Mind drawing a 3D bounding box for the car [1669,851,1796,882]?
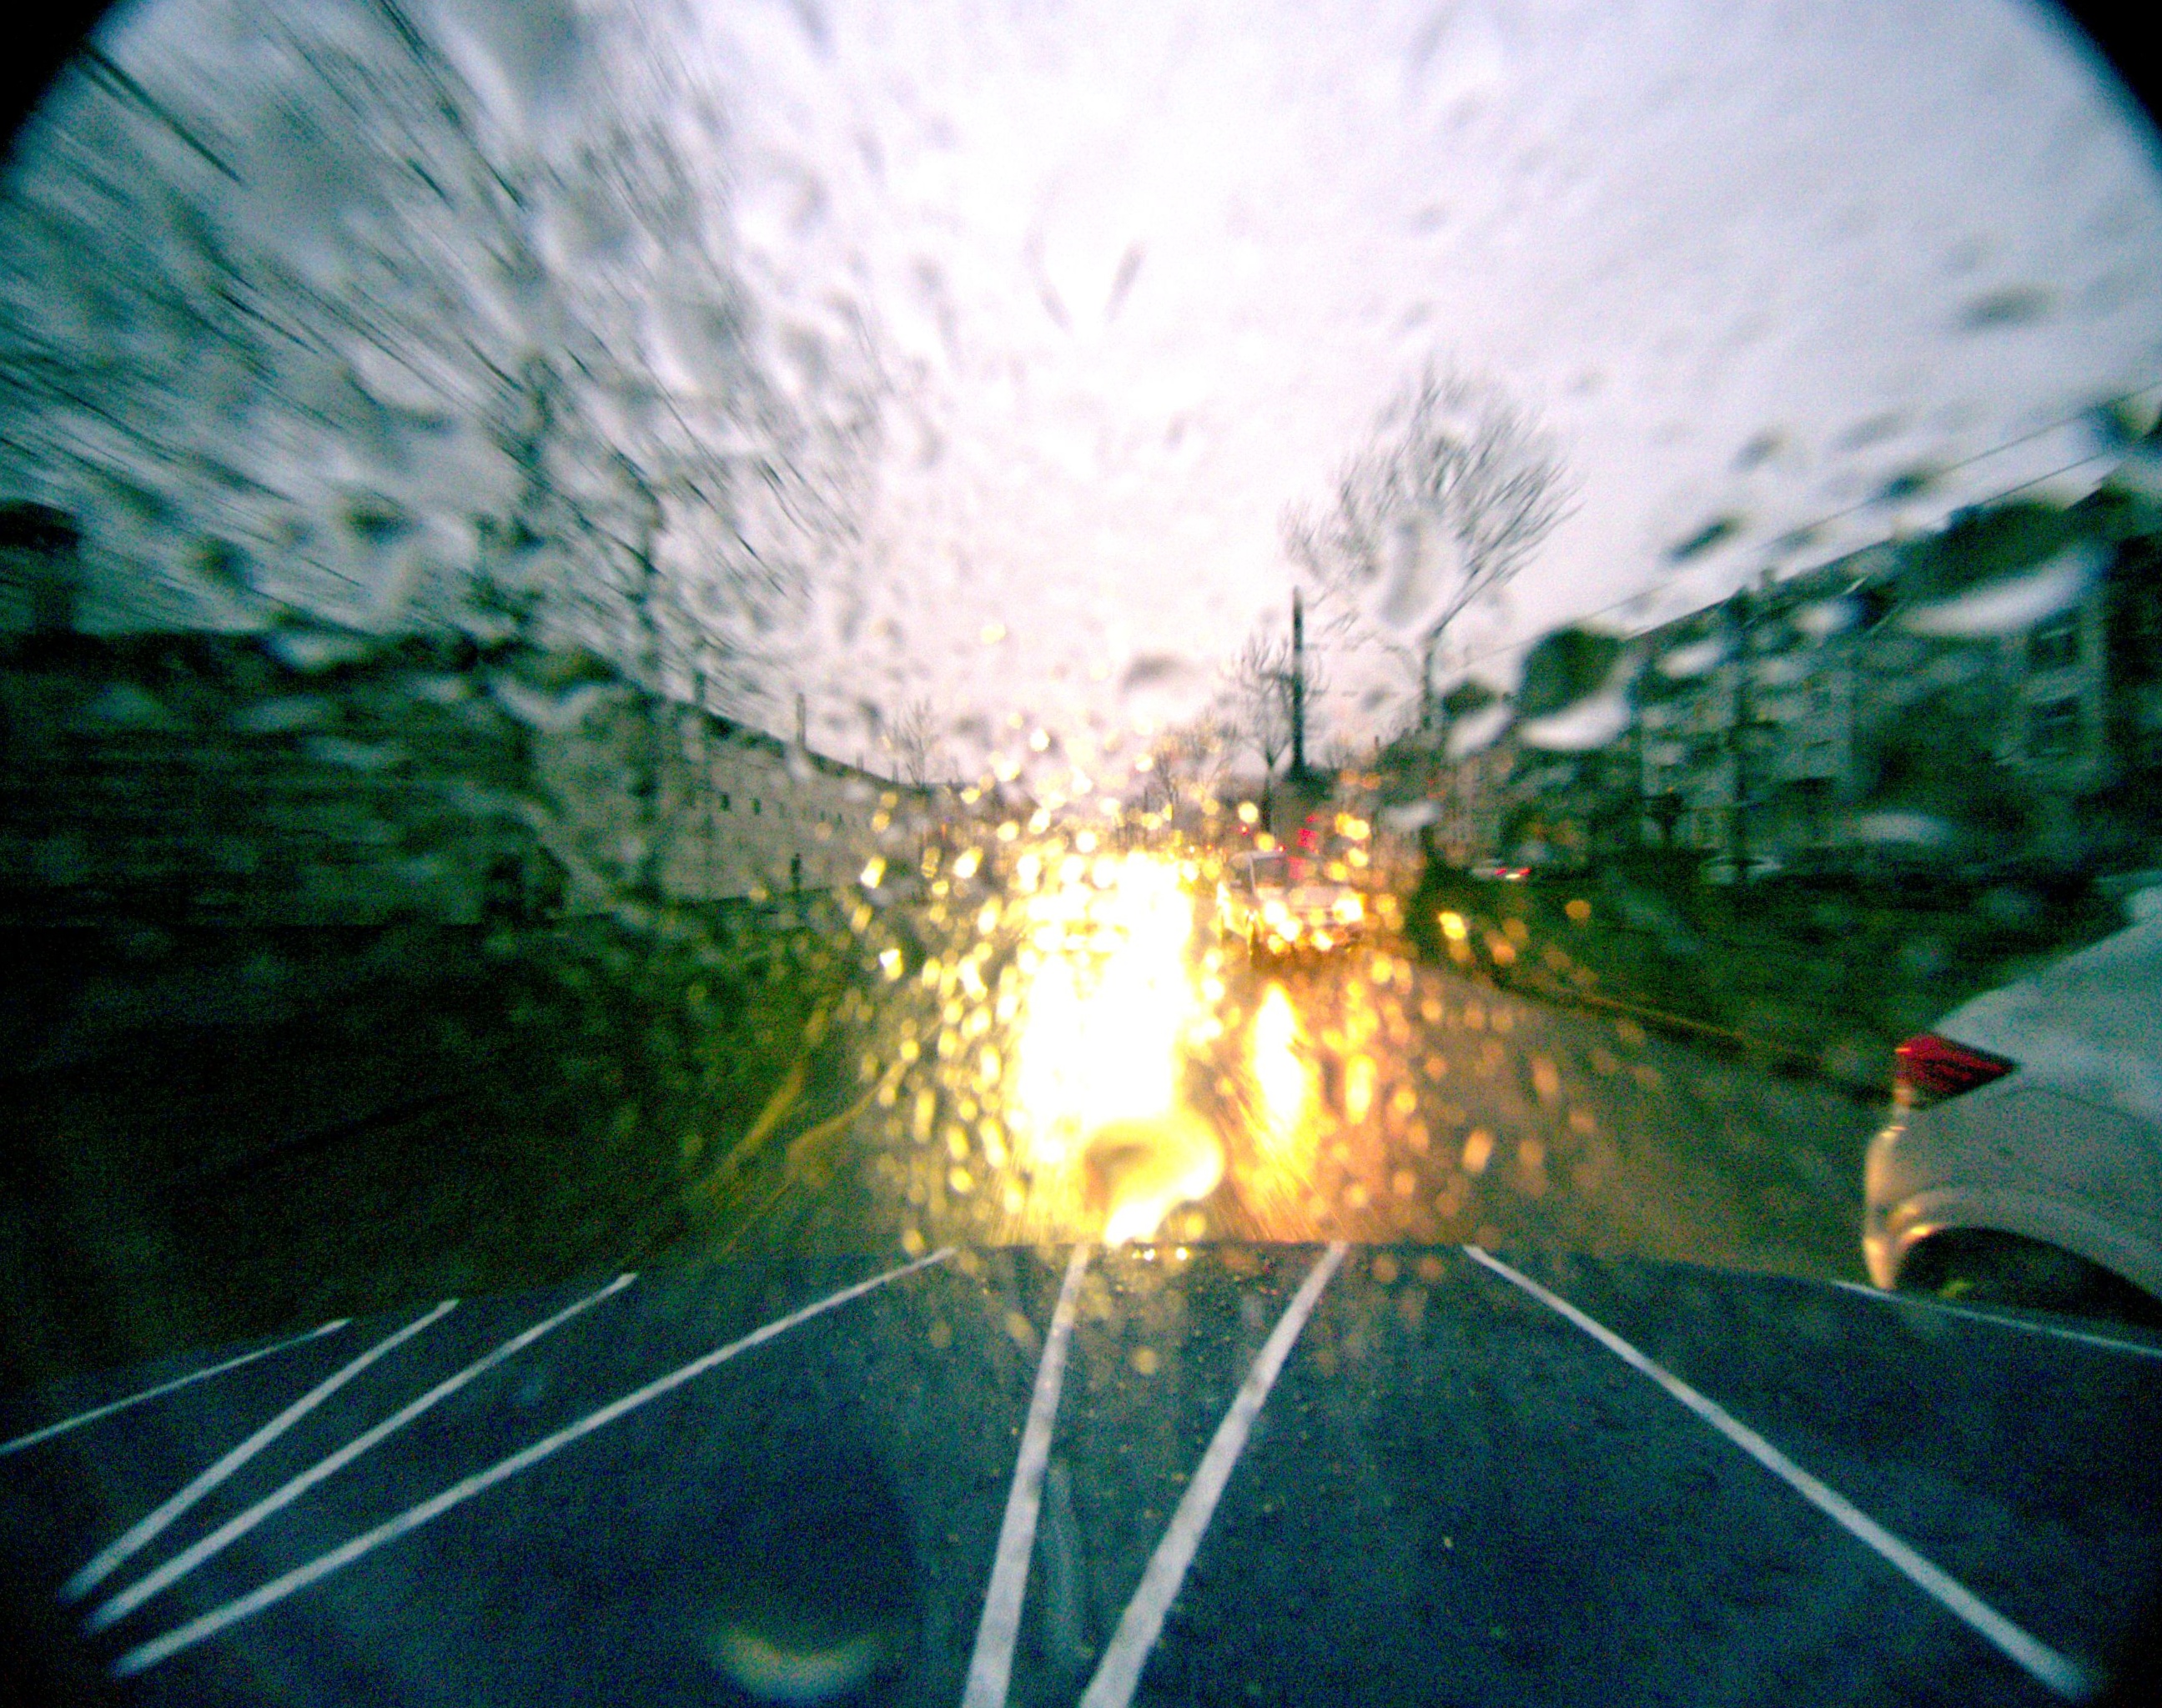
[{"bbox_3d":[29.432,0.581,34.429,4.254,1.250,1.837,-2,1,41],"label":"car"}]

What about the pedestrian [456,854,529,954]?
[{"bbox_3d":[-9.827,0.818,12.697,0.673,1.616,0.615,-2,1,16],"label":"pedestrian"}]

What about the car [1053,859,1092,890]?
[{"bbox_3d":[-0.358,0.956,36.648,1.737,1.311,3.803,-2,1,0],"label":"car"}]

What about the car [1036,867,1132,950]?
[{"bbox_3d":[0.071,1.008,15.529,1.669,1.325,3.786,-2,1,0],"label":"car"}]

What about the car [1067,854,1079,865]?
[{"bbox_3d":[-1.317,0.973,130.966,1.865,1.732,3.365,-2,1,1],"label":"car"}]

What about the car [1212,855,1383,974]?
[{"bbox_3d":[3.287,0.829,12.299,1.638,1.511,3.907,-2,1,0],"label":"car"}]

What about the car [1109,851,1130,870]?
[{"bbox_3d":[3.706,0.610,73.859,1.802,1.674,3.805,-2,1,0],"label":"car"}]

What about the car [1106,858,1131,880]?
[{"bbox_3d":[2.495,0.998,51.116,1.538,1.347,3.546,-2,1,0],"label":"car"}]

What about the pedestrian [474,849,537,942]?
[{"bbox_3d":[-11.272,0.796,14.897,0.673,1.767,0.615,-2,1,14],"label":"pedestrian"}]

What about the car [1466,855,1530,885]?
[{"bbox_3d":[23.313,0.880,42.639,1.549,1.495,3.783,-2,1,2],"label":"car"}]

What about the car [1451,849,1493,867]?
[{"bbox_3d":[31.138,0.272,60.675,1.468,1.332,3.910,-2,1,3],"label":"car"}]

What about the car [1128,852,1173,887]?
[{"bbox_3d":[3.304,0.715,36.924,1.905,1.475,3.655,-2,1,2],"label":"car"}]

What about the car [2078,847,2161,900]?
[{"bbox_3d":[28.208,0.423,18.799,4.034,1.223,1.350,-4,2,37],"label":"car"}]

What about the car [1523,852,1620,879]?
[{"bbox_3d":[28.818,0.682,44.675,4.651,1.423,1.697,-2,1,37],"label":"car"}]

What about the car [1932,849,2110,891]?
[{"bbox_3d":[27.712,0.470,22.542,2.912,0.984,1.798,-4,1,36],"label":"car"}]

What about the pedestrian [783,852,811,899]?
[{"bbox_3d":[-10.303,0.773,27.608,0.669,1.646,0.994,0,2,-5],"label":"pedestrian"}]

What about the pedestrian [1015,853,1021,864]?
[{"bbox_3d":[-9.208,0.639,110.518,0.814,1.621,0.883,1,1,0],"label":"pedestrian"}]

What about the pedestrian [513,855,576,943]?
[{"bbox_3d":[-10.138,0.835,14.366,0.673,1.603,0.615,-2,1,15],"label":"pedestrian"}]
